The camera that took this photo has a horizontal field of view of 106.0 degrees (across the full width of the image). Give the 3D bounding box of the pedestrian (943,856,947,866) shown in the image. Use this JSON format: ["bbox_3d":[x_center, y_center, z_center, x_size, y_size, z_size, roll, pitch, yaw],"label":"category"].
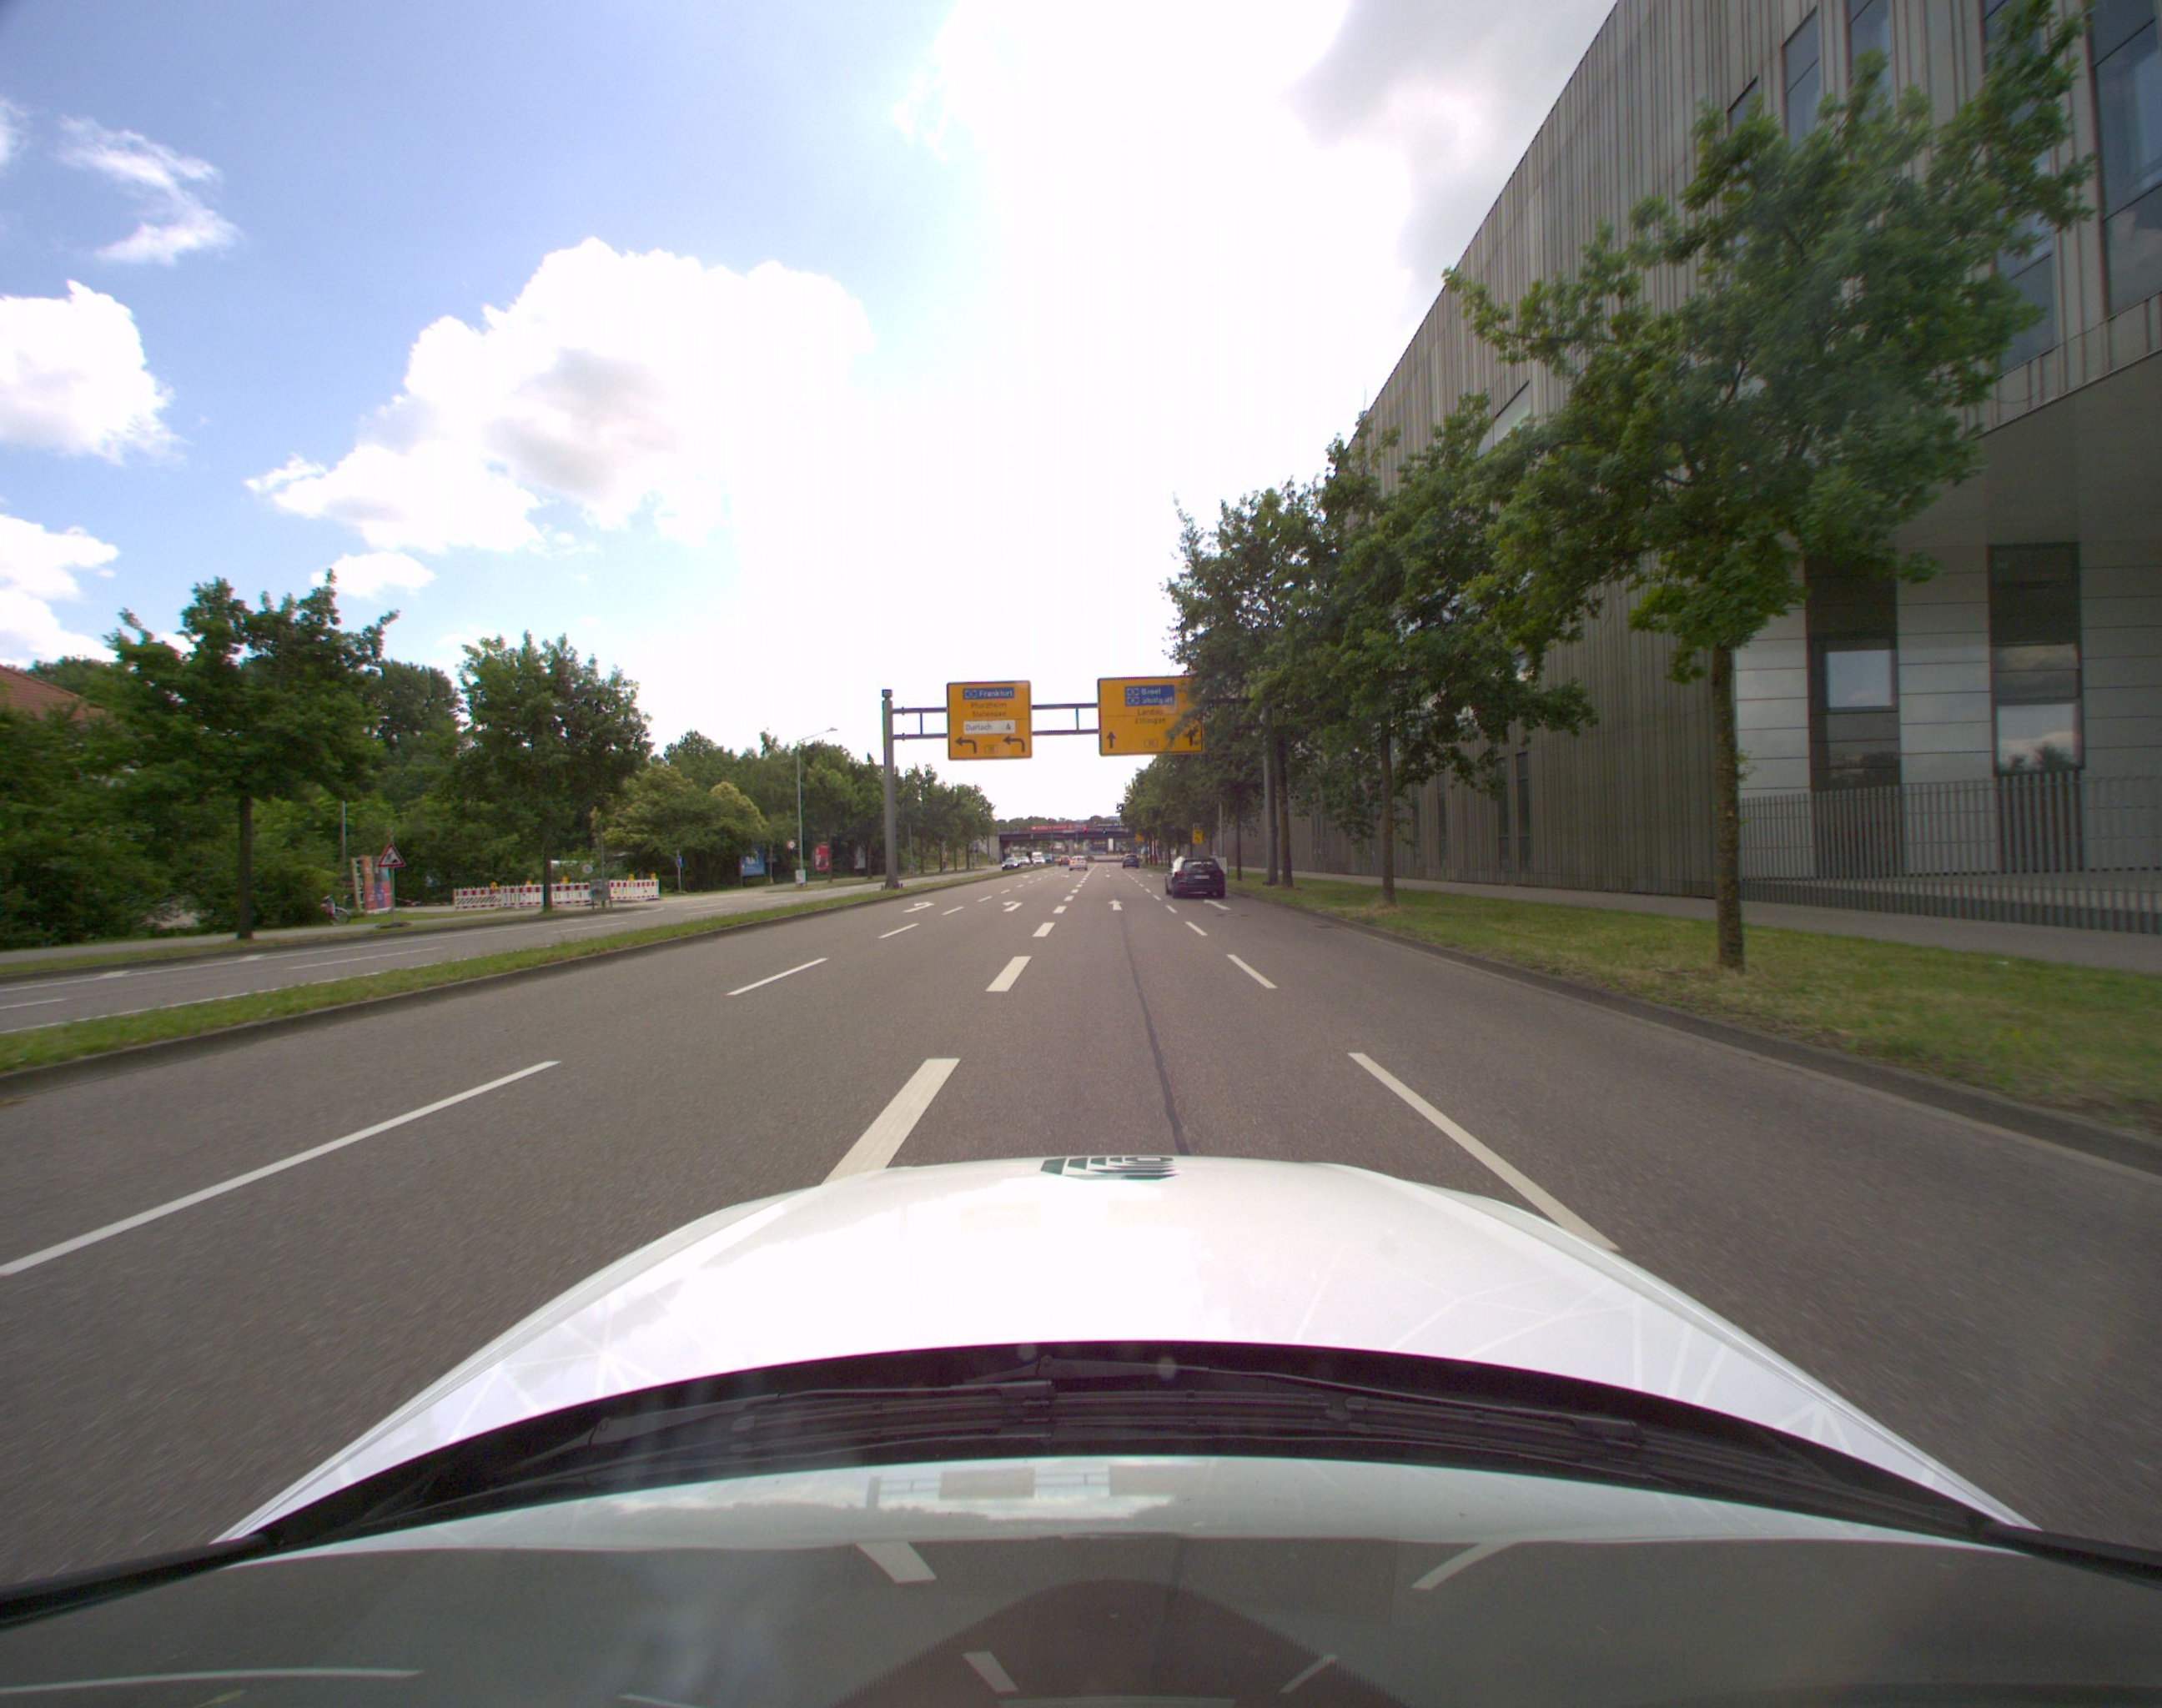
[{"bbox_3d":[-19.736,1.034,118.106,0.556,1.400,0.563,0,-1,0],"label":"pedestrian"}]

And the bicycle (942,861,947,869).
[{"bbox_3d":[-19.751,1.577,118.032,0.458,1.090,1.474,0,-1,1],"label":"bicycle"}]

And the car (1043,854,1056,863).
[{"bbox_3d":[-6.105,0.933,156.670,1.984,1.717,4.004,0,-1,4],"label":"car"}]

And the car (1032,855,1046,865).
[{"bbox_3d":[-7.033,1.004,137.538,1.986,1.717,4.001,0,-1,1],"label":"car"}]

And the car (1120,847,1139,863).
[{"bbox_3d":[5.640,0.108,94.636,1.985,1.626,4.314,-3,1,3],"label":"car"}]

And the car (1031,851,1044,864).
[{"bbox_3d":[-8.874,0.783,167.927,1.984,2.640,5.242,0,-1,4],"label":"car"}]

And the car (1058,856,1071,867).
[{"bbox_3d":[-2.335,1.068,117.038,1.769,1.463,3.998,0,0,-1],"label":"car"}]

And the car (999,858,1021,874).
[{"bbox_3d":[-8.179,1.374,94.066,1.985,1.618,4.003,-2,0,3],"label":"car"}]

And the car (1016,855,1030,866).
[{"bbox_3d":[-10.095,1.154,141.949,1.987,1.783,4.000,0,-1,1],"label":"car"}]

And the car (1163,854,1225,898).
[{"bbox_3d":[3.952,0.722,29.011,1.678,1.463,4.000,0,0,0],"label":"car"}]

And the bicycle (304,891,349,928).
[{"bbox_3d":[-24.825,1.804,26.833,0.888,1.059,2.337,-2,0,-39],"label":"bicycle"}]

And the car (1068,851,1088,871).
[{"bbox_3d":[-0.301,0.672,82.872,1.988,2.013,3.998,0,0,-1],"label":"car"}]
